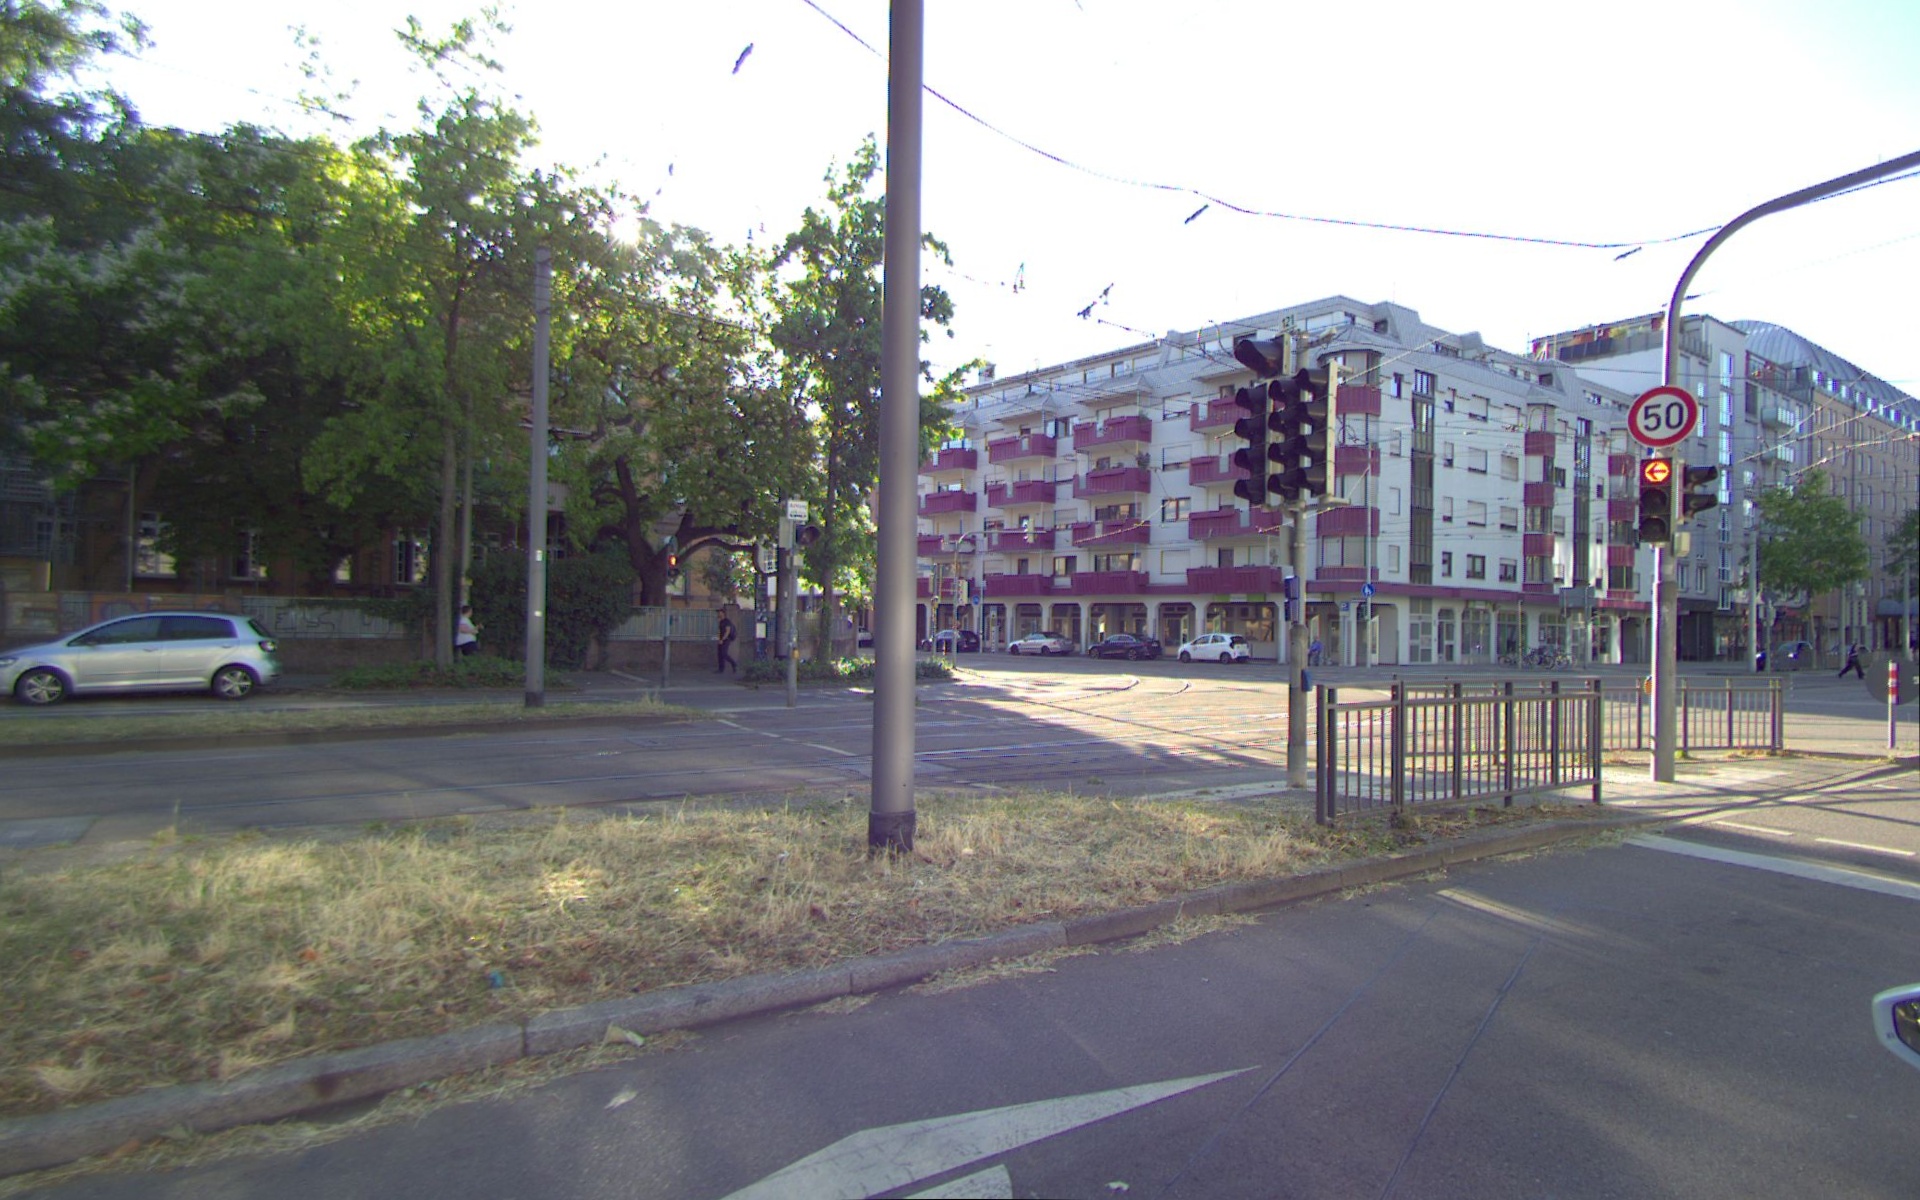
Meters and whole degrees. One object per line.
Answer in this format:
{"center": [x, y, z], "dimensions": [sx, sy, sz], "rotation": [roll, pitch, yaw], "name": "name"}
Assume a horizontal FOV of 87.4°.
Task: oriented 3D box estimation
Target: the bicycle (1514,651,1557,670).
{"center": [28.147, 2.966, 49.150], "dimensions": [0.547, 0.865, 1.834], "rotation": [2, -2, -31], "name": "bicycle"}

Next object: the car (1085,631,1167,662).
{"center": [8.987, 2.487, 54.632], "dimensions": [1.985, 1.576, 4.073], "rotation": [2, -2, -41], "name": "car"}

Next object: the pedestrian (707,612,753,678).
{"center": [-6.364, 1.236, 27.741], "dimensions": [1.010, 1.775, 0.729], "rotation": [2, -2, -37], "name": "pedestrian"}

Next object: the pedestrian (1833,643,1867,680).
{"center": [39.000, 2.690, 44.008], "dimensions": [0.689, 1.564, 1.037], "rotation": [2, -2, -40], "name": "pedestrian"}

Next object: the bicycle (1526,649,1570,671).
{"center": [29.172, 2.966, 49.887], "dimensions": [0.548, 0.998, 1.831], "rotation": [2, -2, -35], "name": "bicycle"}

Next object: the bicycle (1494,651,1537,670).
{"center": [27.231, 2.967, 49.245], "dimensions": [0.547, 0.865, 1.834], "rotation": [2, -2, -31], "name": "bicycle"}

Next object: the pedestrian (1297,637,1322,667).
{"center": [16.656, 2.464, 47.889], "dimensions": [0.831, 1.402, 0.848], "rotation": [2, -2, -44], "name": "pedestrian"}

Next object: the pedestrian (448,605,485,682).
{"center": [-11.074, 0.969, 22.535], "dimensions": [0.625, 1.687, 0.563], "rotation": [2, 1, -36], "name": "pedestrian"}

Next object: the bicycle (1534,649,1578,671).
{"center": [29.732, 2.981, 50.129], "dimensions": [0.548, 0.998, 1.831], "rotation": [2, -2, -35], "name": "bicycle"}

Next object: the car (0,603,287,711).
{"center": [-14.637, 0.976, 18.095], "dimensions": [4.061, 1.641, 2.066], "rotation": [2, 1, -37], "name": "car"}

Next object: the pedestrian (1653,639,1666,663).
{"center": [44.945, 3.271, 64.566], "dimensions": [0.582, 1.514, 0.530], "rotation": [2, -2, -37], "name": "pedestrian"}

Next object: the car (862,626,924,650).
{"center": [-4.732, 2.672, 70.461], "dimensions": [1.985, 1.576, 4.529], "rotation": [2, -2, -41], "name": "car"}

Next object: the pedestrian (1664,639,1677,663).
{"center": [45.376, 3.282, 64.168], "dimensions": [0.582, 1.514, 0.530], "rotation": [2, -2, -37], "name": "pedestrian"}

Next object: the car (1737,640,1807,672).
{"center": [45.079, 3.076, 55.736], "dimensions": [4.217, 1.694, 1.943], "rotation": [2, -2, -35], "name": "car"}

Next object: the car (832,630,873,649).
{"center": [-7.951, 2.882, 74.044], "dimensions": [1.449, 1.351, 3.145], "rotation": [2, -2, -41], "name": "car"}

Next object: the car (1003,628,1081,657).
{"center": [4.789, 2.495, 59.291], "dimensions": [1.985, 1.576, 4.529], "rotation": [2, -2, -41], "name": "car"}

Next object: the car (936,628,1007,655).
{"center": [0.703, 2.638, 64.397], "dimensions": [1.985, 1.576, 4.529], "rotation": [2, -2, -41], "name": "car"}

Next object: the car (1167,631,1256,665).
{"center": [12.655, 2.395, 50.727], "dimensions": [1.985, 1.576, 3.951], "rotation": [2, -2, -41], "name": "car"}
